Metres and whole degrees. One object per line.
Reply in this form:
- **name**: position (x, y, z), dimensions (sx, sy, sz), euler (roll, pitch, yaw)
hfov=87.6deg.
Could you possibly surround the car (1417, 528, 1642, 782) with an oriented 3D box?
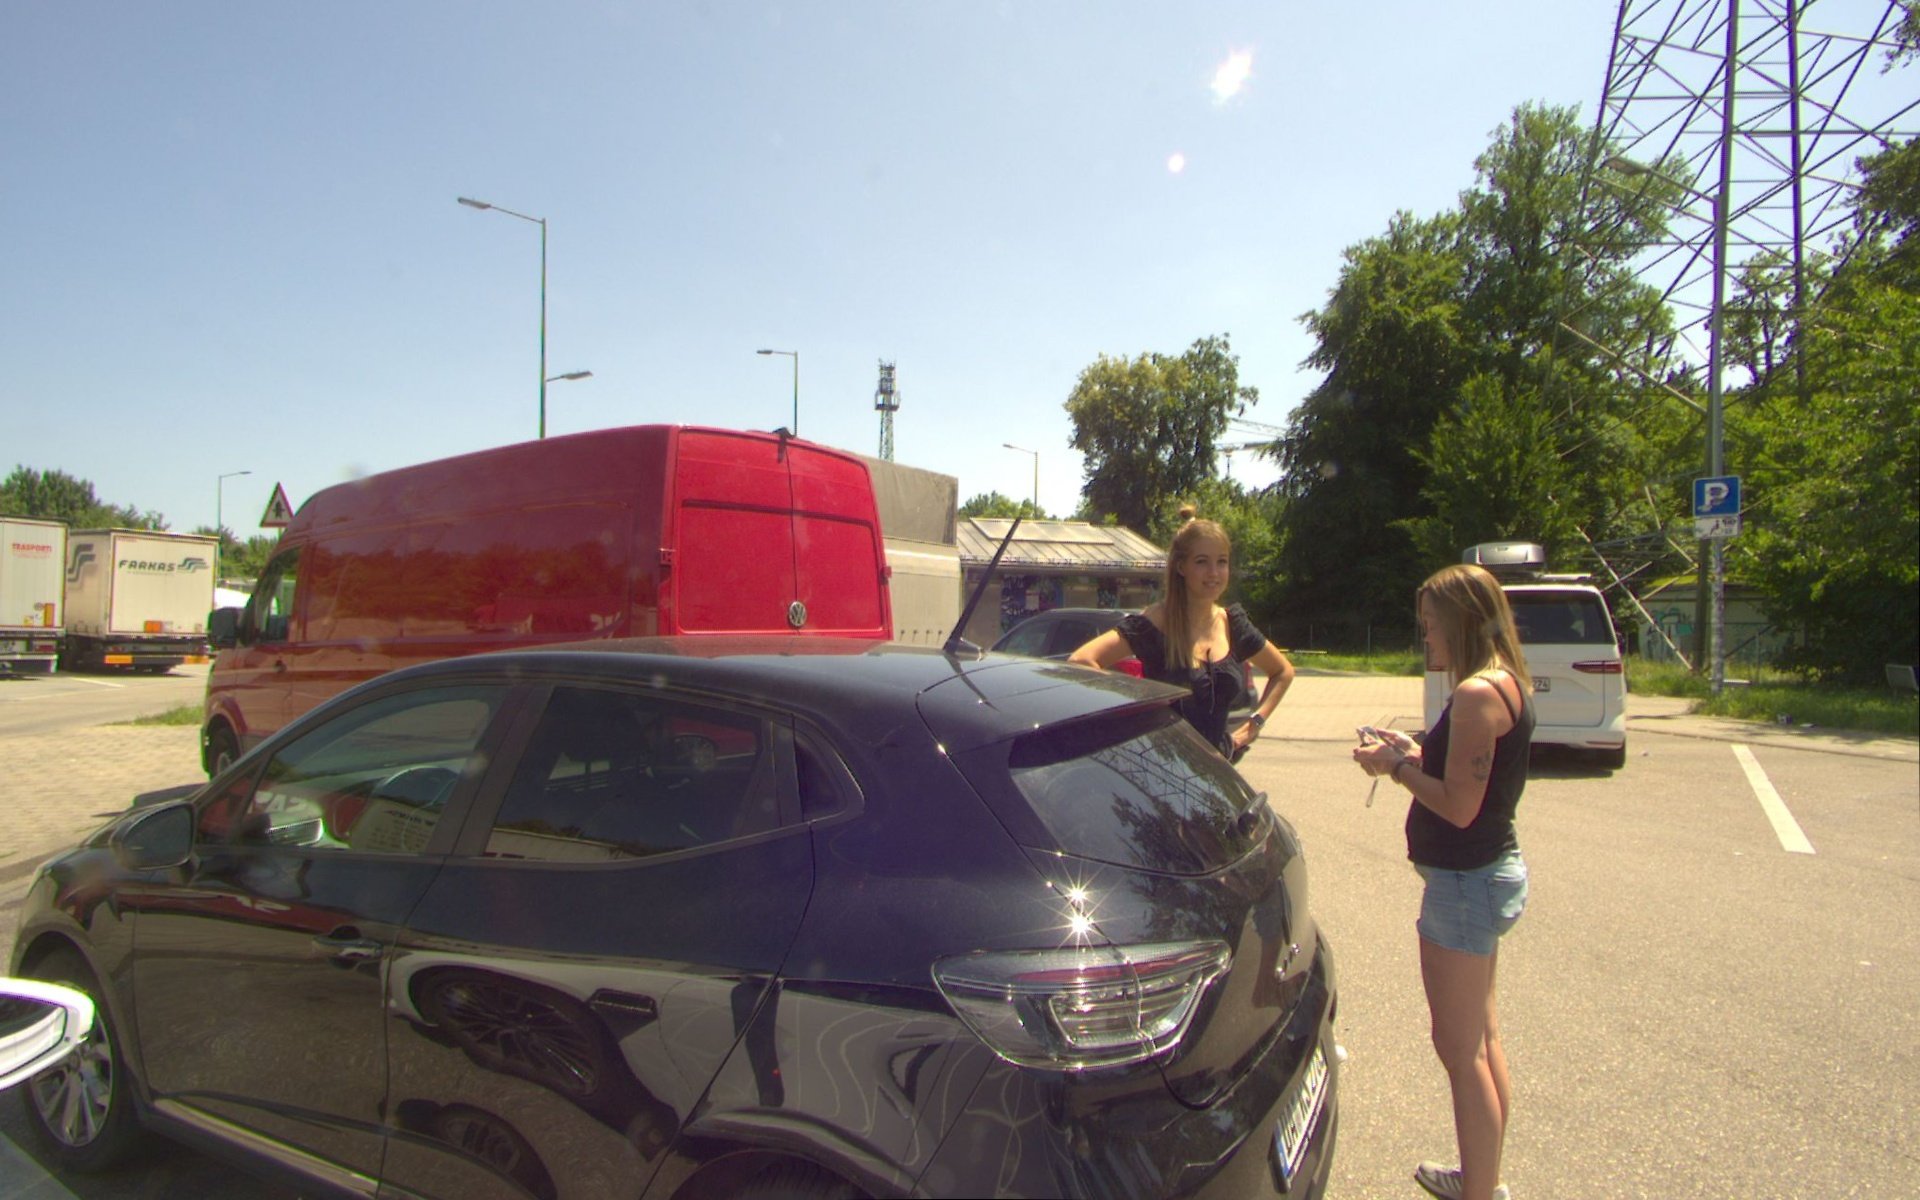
- **car**: position (6.574, 0.559, 11.514), dimensions (1.892, 2.354, 4.074), euler (-1, -1, 32)

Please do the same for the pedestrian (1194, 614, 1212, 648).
- **pedestrian**: position (11.185, 1.439, 46.063), dimensions (0.577, 1.536, 0.592), euler (1, 0, -10)

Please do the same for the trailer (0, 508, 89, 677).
- **trailer**: position (-28.315, -0.332, 27.766), dimensions (12.255, 4.090, 2.862), euler (2, -1, 33)

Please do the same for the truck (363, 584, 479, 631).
- **truck**: position (-34.671, 0.463, 64.247), dimensions (9.637, 2.857, 2.121), euler (0, -1, 33)

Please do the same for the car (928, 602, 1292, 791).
- **car**: position (1.408, 0.879, 10.939), dimensions (1.824, 1.644, 4.028), euler (1, -1, -31)

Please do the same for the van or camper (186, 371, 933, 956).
- **van or camper**: position (-3.332, 0.317, 7.311), dimensions (6.394, 2.688, 1.990), euler (0, -1, 36)

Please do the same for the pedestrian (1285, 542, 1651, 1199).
- **pedestrian**: position (1.268, 0.696, 2.493), dimensions (0.642, 1.606, 0.649), euler (0, -1, 44)

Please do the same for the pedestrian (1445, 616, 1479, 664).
- **pedestrian**: position (15.013, 1.194, 29.935), dimensions (0.695, 1.392, 0.607), euler (1, 0, -3)

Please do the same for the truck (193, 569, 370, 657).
- **truck**: position (-31.647, 0.503, 46.444), dimensions (11.255, 3.615, 2.483), euler (2, -1, 33)

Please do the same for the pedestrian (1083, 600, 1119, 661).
- **pedestrian**: position (3.809, 0.820, 27.052), dimensions (0.742, 1.629, 0.765), euler (1, 0, -8)

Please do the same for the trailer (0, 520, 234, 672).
- **trailer**: position (-27.253, -0.203, 31.431), dimensions (12.255, 4.090, 2.862), euler (2, -1, 33)

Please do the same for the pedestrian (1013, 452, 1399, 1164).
- **pedestrian**: position (0.757, 0.569, 3.207), dimensions (0.902, 1.896, 0.771), euler (1, 0, -24)

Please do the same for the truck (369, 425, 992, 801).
- **truck**: position (-3.226, 0.126, 10.517), dimensions (6.874, 2.828, 2.460), euler (0, -1, 35)

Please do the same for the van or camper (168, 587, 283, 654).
- **van or camper**: position (-30.367, 0.817, 41.353), dimensions (5.296, 2.595, 2.100), euler (0, -1, 34)

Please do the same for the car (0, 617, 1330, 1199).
- **car**: position (-1.028, 0.828, 2.803), dimensions (3.706, 1.503, 1.615), euler (0, -1, 27)
